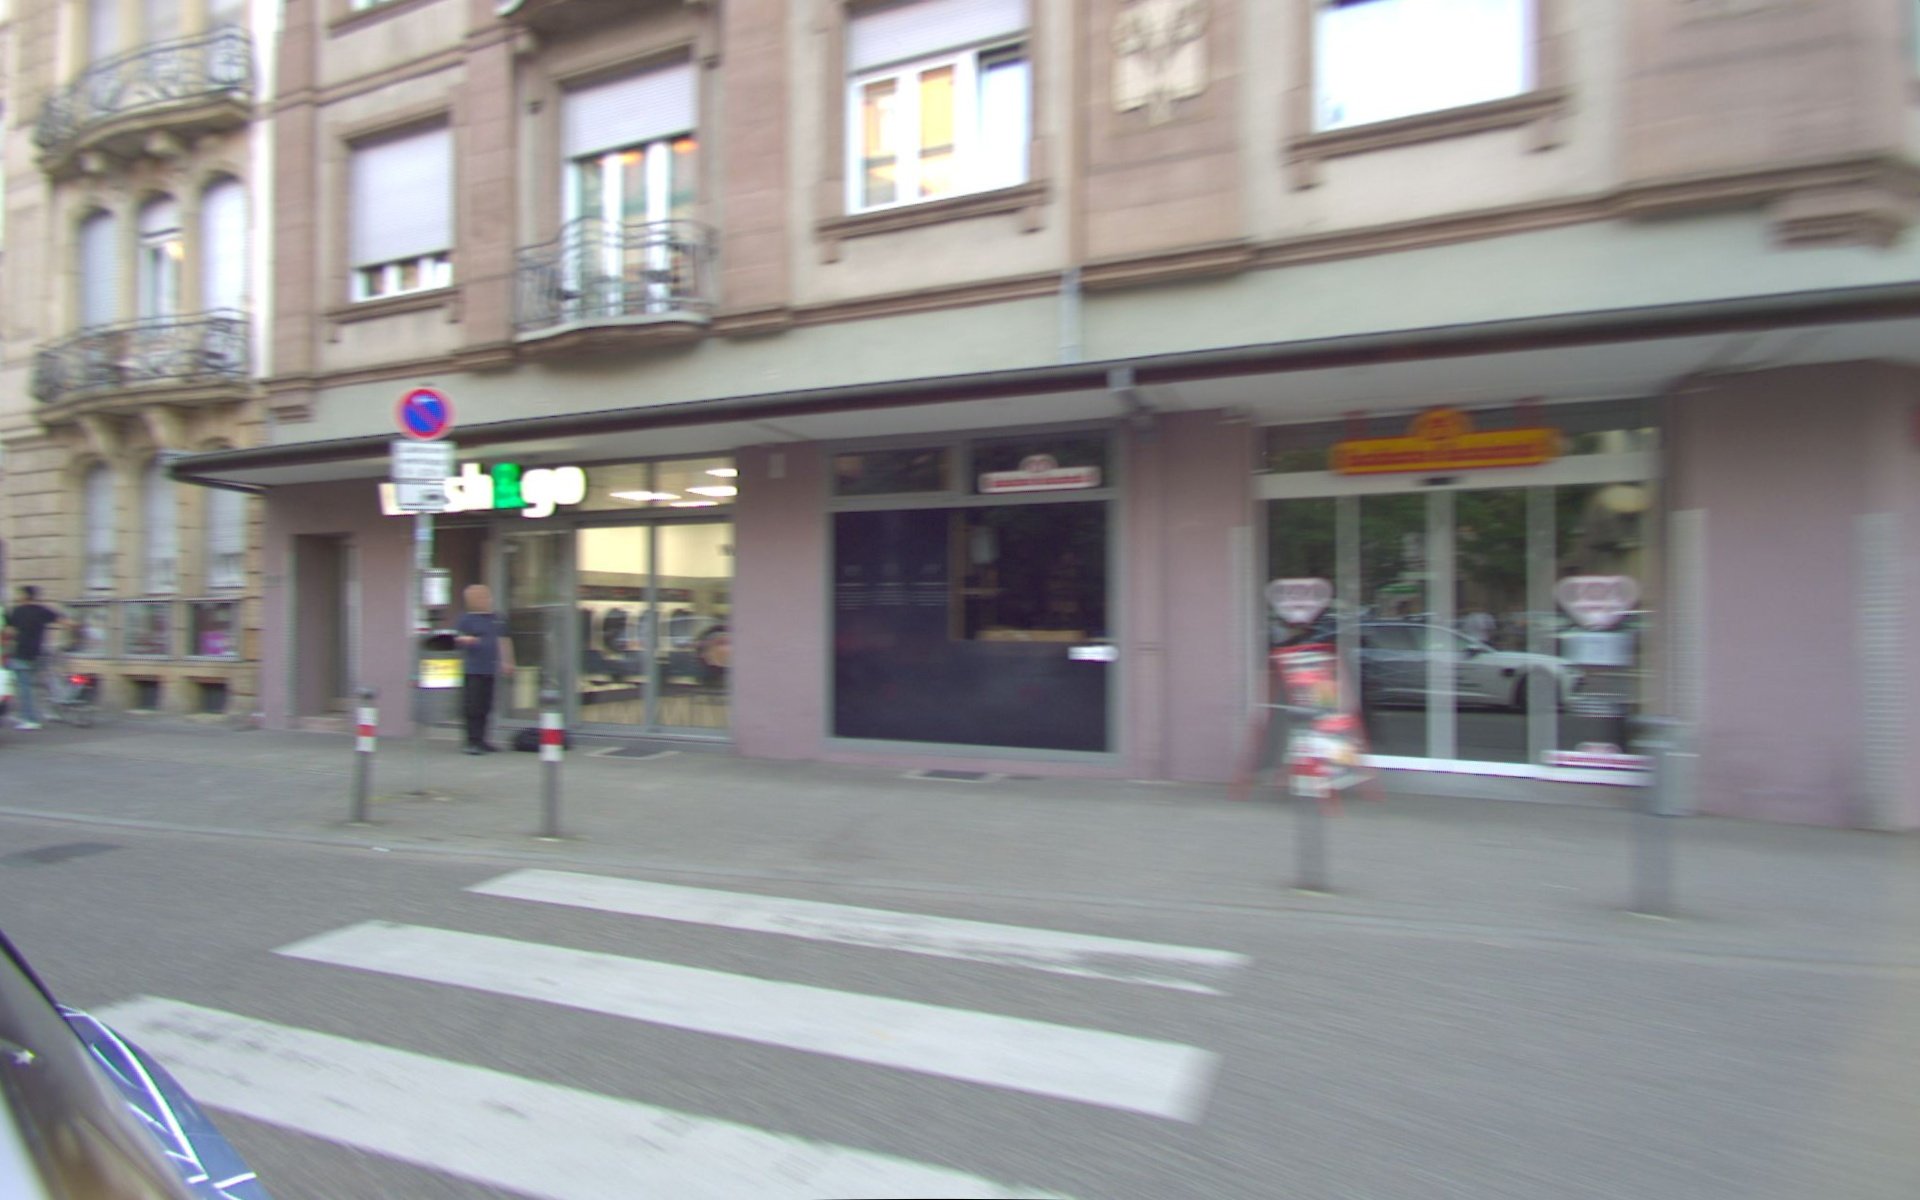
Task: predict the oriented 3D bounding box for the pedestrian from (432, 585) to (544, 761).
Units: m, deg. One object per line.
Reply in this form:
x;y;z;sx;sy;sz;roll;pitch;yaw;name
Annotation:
-4.748;0.705;10.200;0.731;1.690;0.706;-1;0;23;pedestrian

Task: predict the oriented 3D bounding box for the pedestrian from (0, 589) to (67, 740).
-11.789;0.778;12.702;0.991;1.837;0.533;0;0;27;pedestrian

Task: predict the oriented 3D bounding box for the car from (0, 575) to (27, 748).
-13.299;0.705;11.467;4.991;1.936;2.101;-1;-1;22;car

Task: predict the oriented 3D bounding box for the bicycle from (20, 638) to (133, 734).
-11.513;1.090;13.176;1.775;1.151;0.469;0;0;27;bicycle
